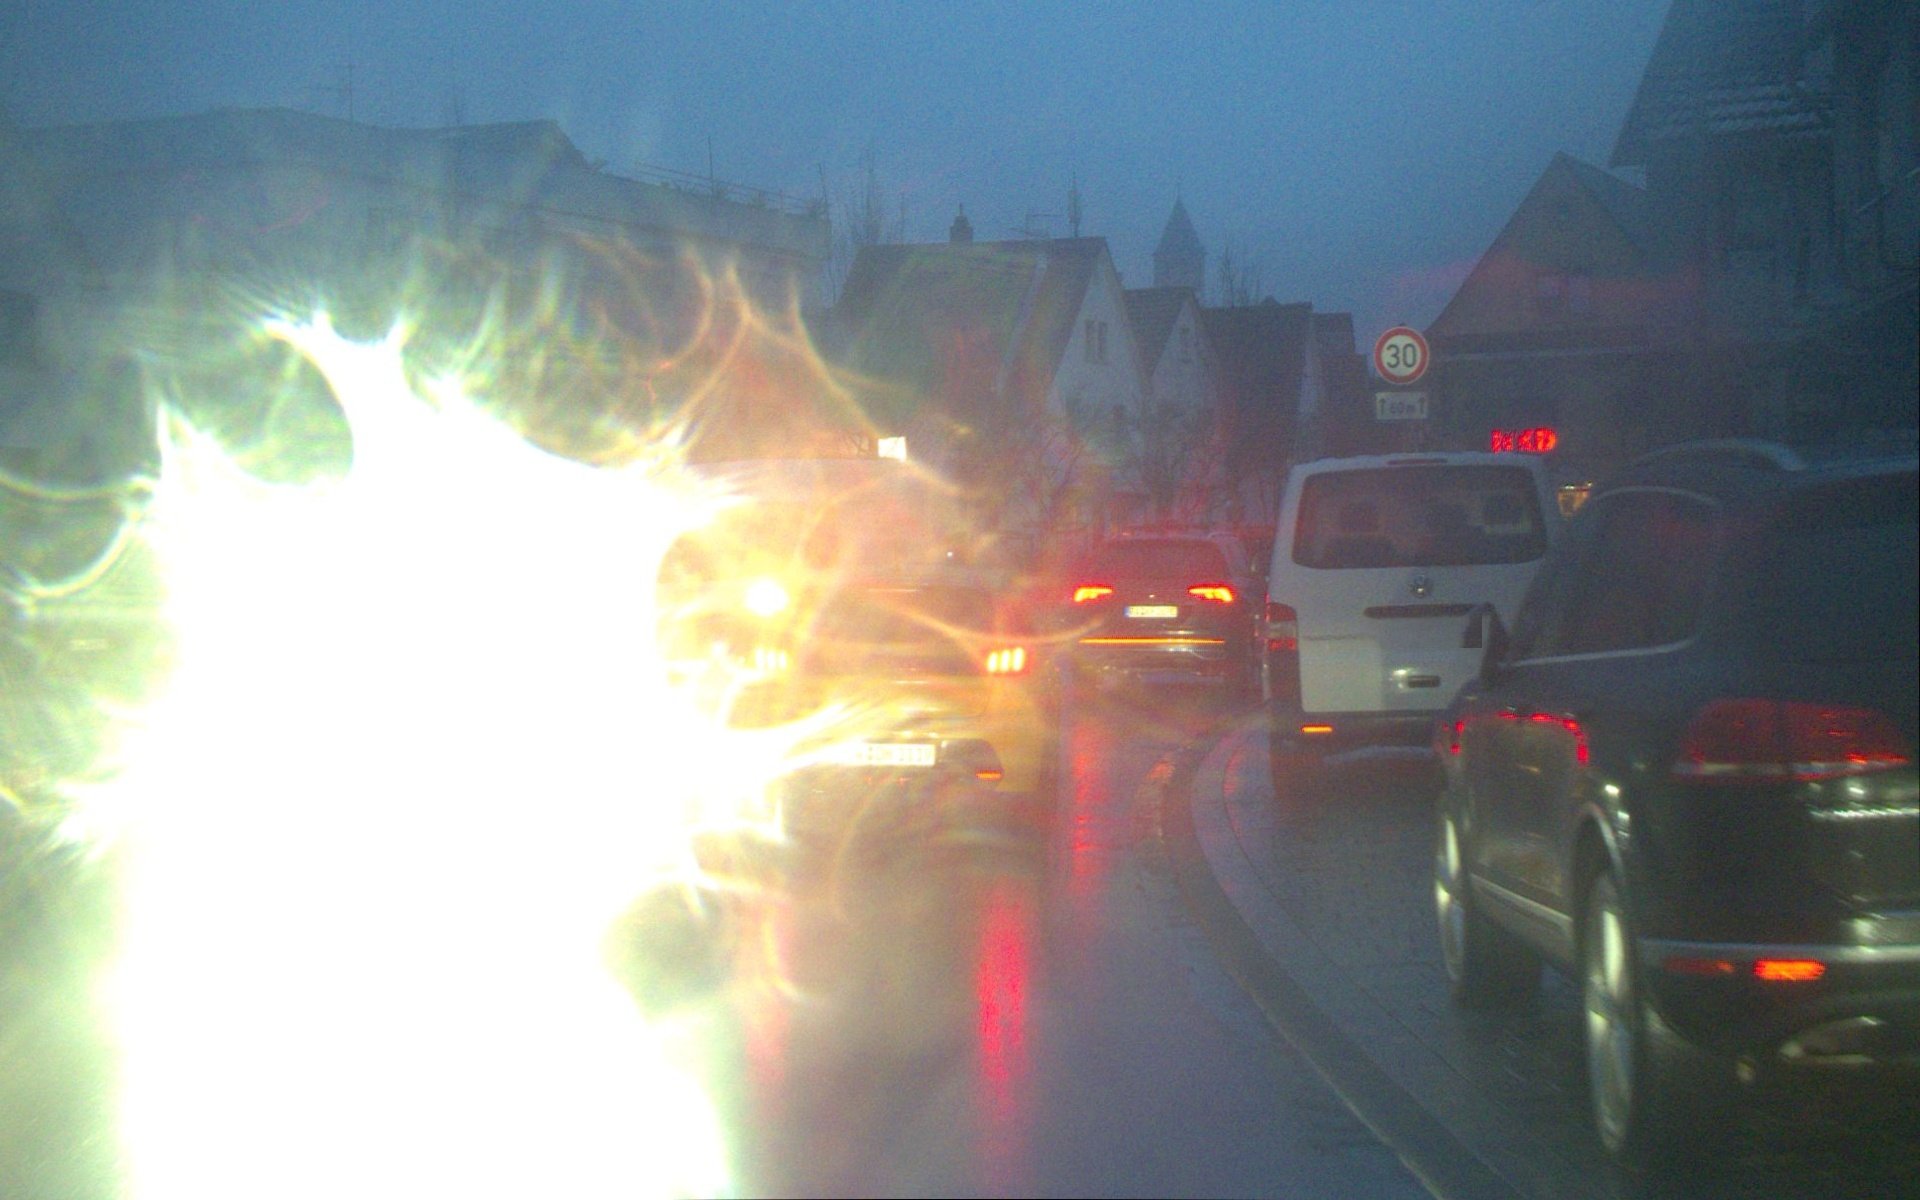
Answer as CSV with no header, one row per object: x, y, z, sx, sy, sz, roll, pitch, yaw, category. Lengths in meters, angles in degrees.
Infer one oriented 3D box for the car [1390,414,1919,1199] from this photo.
2.427,0.388,9.313,1.974,1.655,4.460,-1,1,1,car

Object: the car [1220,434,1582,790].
2.659,0.015,21.628,1.973,1.953,4.851,-1,1,5,car

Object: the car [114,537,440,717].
-6.218,0.195,31.782,1.905,1.528,4.255,0,1,4,car

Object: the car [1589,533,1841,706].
7.376,0.149,33.884,1.734,1.556,3.663,-2,1,2,car

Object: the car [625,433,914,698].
-1.854,-0.390,35.749,2.195,2.482,6.142,-1,1,4,car

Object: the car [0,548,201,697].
-10.301,0.210,37.587,3.997,1.525,1.995,0,2,44,car

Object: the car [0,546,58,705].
-11.227,0.306,35.232,4.109,1.577,1.717,-2,0,39,car

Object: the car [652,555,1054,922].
-0.480,0.676,19.794,1.993,1.789,4.648,-1,1,2,car

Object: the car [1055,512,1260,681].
2.110,-0.067,35.769,1.798,1.656,3.999,0,1,8,car

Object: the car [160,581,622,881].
-3.331,0.707,21.037,1.826,1.513,4.548,-2,1,3,car
